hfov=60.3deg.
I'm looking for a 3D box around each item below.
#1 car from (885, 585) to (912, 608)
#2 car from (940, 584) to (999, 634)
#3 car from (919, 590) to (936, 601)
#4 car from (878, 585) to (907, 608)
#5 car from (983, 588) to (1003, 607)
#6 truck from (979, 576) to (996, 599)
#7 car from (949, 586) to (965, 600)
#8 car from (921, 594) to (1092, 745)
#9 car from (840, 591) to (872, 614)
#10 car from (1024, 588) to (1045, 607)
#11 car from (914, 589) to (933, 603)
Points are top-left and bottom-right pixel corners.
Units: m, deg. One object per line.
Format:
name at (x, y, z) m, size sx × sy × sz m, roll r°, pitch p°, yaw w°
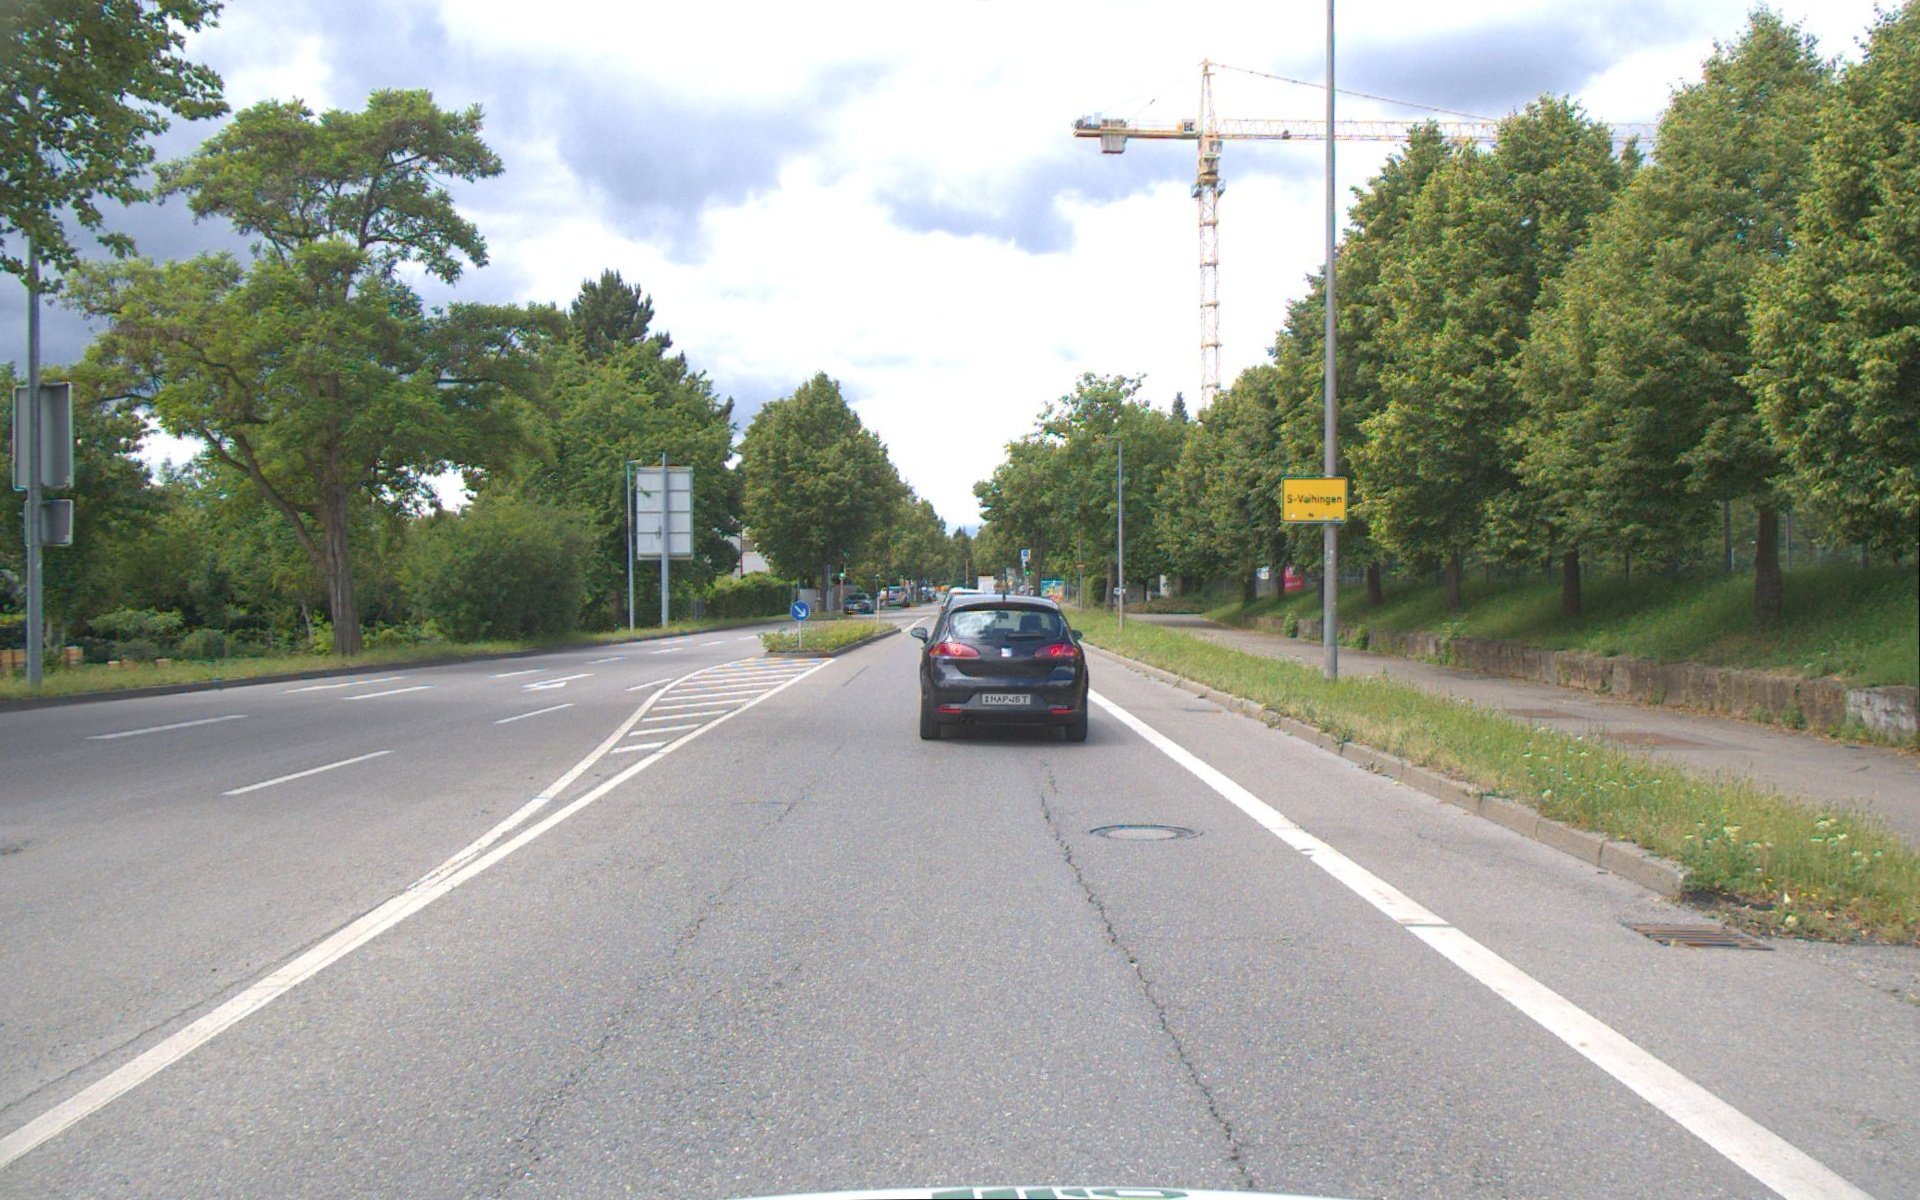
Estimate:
car at (-5.578, -0.306, 150.520) m, size 2.056 × 1.929 × 5.785 m, roll -2°, pitch 0°, yaw 1°
car at (0.302, 0.282, 53.650) m, size 1.808 × 1.536 × 3.811 m, roll 1°, pitch 0°, yaw 0°
car at (-4.521, -0.619, 233.135) m, size 2.056 × 1.532 × 5.785 m, roll -2°, pitch 0°, yaw 1°
car at (-5.851, -0.308, 143.075) m, size 2.056 × 1.929 × 5.785 m, roll -2°, pitch 0°, yaw 1°
car at (3.182, -0.251, 158.654) m, size 1.842 × 1.718 × 4.214 m, roll -1°, pitch 0°, yaw 1°
truck at (3.879, -1.785, 234.983) m, size 2.232 × 3.158 × 8.511 m, roll 1°, pitch 0°, yaw 1°
car at (-0.379, -0.941, 210.995) m, size 1.836 × 1.663 × 4.342 m, roll -2°, pitch 0°, yaw 3°
car at (0.453, 0.667, 17.845) m, size 1.629 × 1.426 × 3.811 m, roll 1°, pitch 0°, yaw 0°
car at (-7.136, 0.160, 113.861) m, size 1.682 × 1.419 × 4.802 m, roll -2°, pitch 0°, yaw 1°
car at (6.210, -0.194, 137.270) m, size 1.653 × 1.516 × 3.355 m, roll -1°, pitch 0°, yaw 1°
car at (-4.406, -0.463, 200.295) m, size 2.056 × 1.532 × 5.785 m, roll -2°, pitch 0°, yaw 1°
